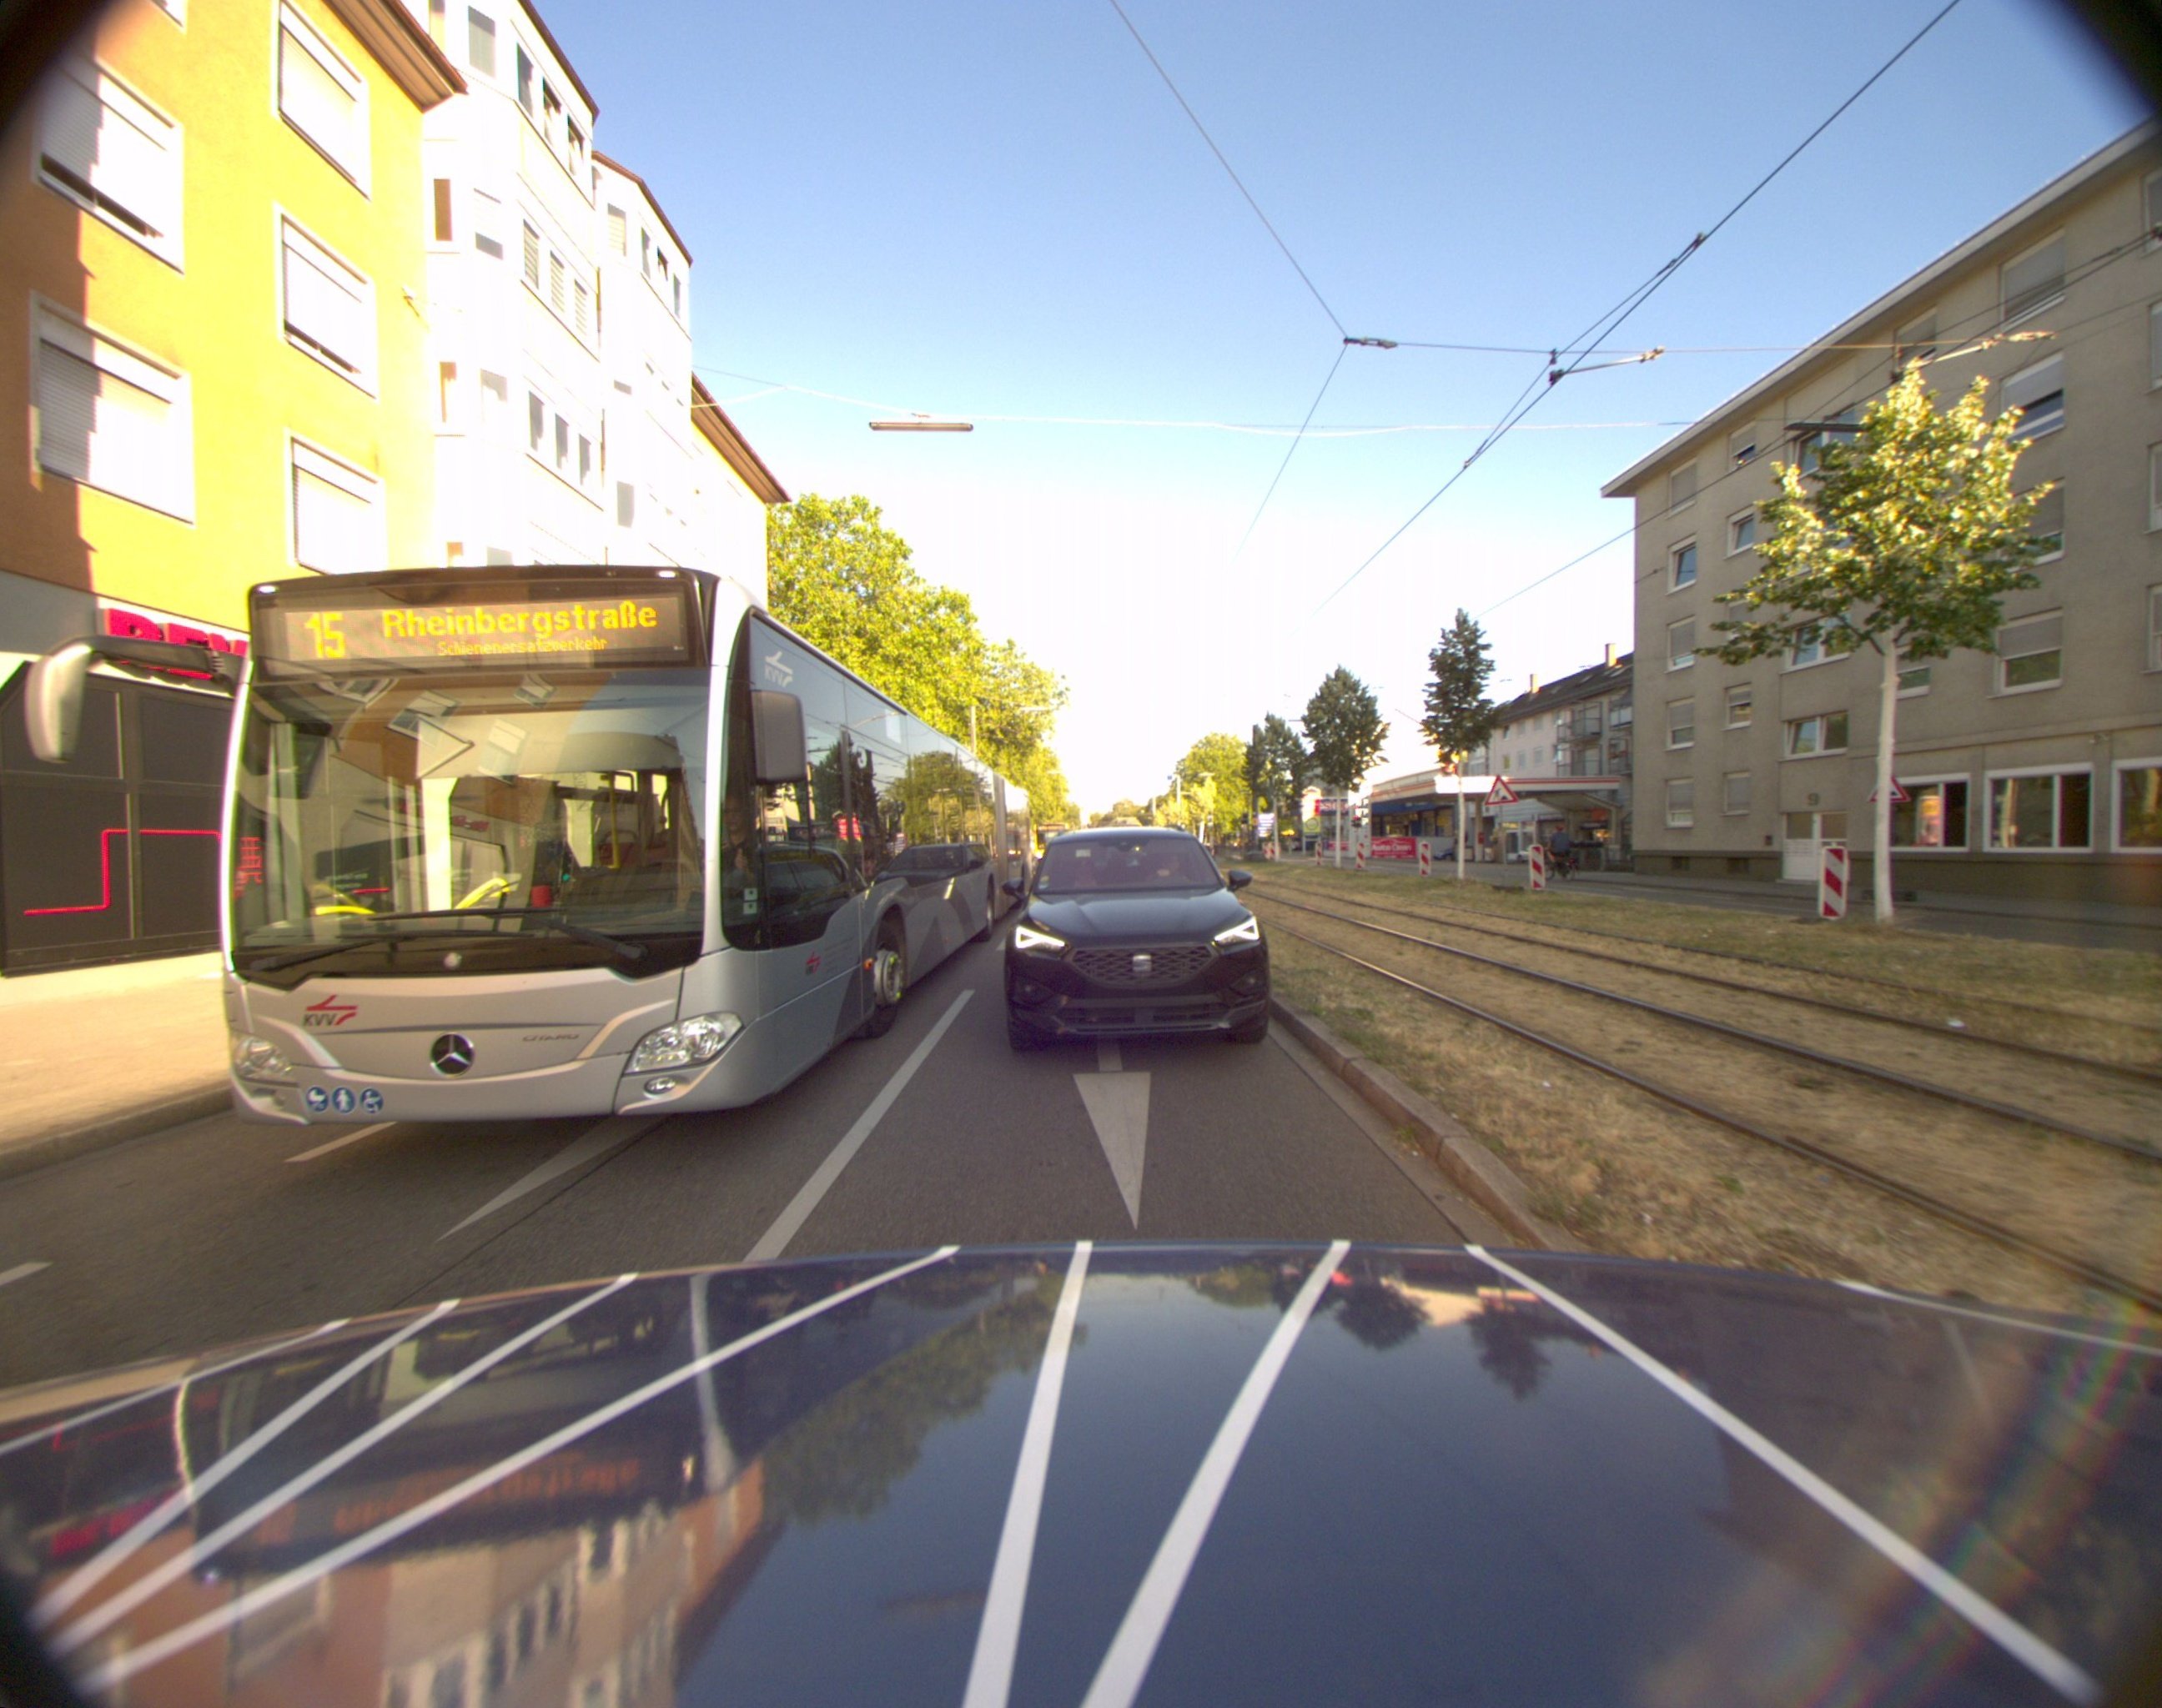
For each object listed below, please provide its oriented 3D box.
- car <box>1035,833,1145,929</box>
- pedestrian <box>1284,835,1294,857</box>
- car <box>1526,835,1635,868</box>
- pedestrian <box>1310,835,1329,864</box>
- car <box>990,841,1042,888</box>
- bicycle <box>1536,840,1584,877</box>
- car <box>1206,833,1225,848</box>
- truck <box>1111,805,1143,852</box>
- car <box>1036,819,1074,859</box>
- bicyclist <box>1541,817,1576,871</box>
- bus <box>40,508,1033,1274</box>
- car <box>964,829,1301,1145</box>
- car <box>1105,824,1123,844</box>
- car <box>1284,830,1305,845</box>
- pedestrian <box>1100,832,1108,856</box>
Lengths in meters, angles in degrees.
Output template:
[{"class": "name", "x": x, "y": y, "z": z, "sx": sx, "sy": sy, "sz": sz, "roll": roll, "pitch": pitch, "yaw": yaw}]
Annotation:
[{"class": "car", "x": 0.180, "y": 0.448, "z": 15.857, "sx": 1.998, "sy": 1.740, "sz": 3.999, "roll": 0, "pitch": 1, "yaw": 0}, {"class": "pedestrian", "x": 19.885, "y": -0.782, "z": 72.704, "sx": 0.632, "sy": 2.002, "sz": 0.583, "roll": -5, "pitch": 2, "yaw": 1}, {"class": "car", "x": 22.656, "y": -0.117, "z": 34.591, "sx": 3.728, "sy": 1.460, "sz": 1.908, "roll": 0, "pitch": 0, "yaw": -1}, {"class": "pedestrian", "x": 10.837, "y": -0.202, "z": 34.542, "sx": 0.664, "sy": 1.263, "sz": 0.581, "roll": -2, "pitch": 1, "yaw": 1}, {"class": "car", "x": -2.479, "y": 0.355, "z": 29.850, "sx": 1.750, "sy": 1.598, "sz": 3.822, "roll": -2, "pitch": 2, "yaw": -1}, {"class": "bicycle", "x": 16.909, "y": 0.139, "z": 26.886, "sx": 0.456, "sy": 1.250, "sz": 1.870, "roll": -1, "pitch": 1, "yaw": -2}, {"class": "car", "x": 16.972, "y": -1.720, "z": 96.148, "sx": 1.998, "sy": 1.725, "sz": 4.394, "roll": -2, "pitch": 2, "yaw": 6}, {"class": "truck", "x": 4.032, "y": -2.259, "z": 67.753, "sx": 2.306, "sy": 3.799, "sz": 7.721, "roll": -2, "pitch": 2, "yaw": 1}, {"class": "car", "x": -1.954, "y": -1.169, "z": 59.018, "sx": 2.681, "sy": 2.875, "sz": 5.450, "roll": -2, "pitch": 2, "yaw": 0}, {"class": "bicyclist", "x": 16.900, "y": -0.357, "z": 26.899, "sx": 0.653, "sy": 1.872, "sz": 0.808, "roll": 0, "pitch": 2, "yaw": -2}, {"class": "bus", "x": -2.797, "y": -0.034, "z": 12.030, "sx": 2.773, "sy": 3.132, "sz": 17.736, "roll": -1, "pitch": 1, "yaw": 0}, {"class": "car", "x": 0.299, "y": 0.680, "z": 6.078, "sx": 1.774, "sy": 1.668, "sz": 3.999, "roll": -1, "pitch": 1, "yaw": 0}, {"class": "car", "x": 3.538, "y": -2.137, "z": 81.840, "sx": 1.767, "sy": 2.002, "sz": 3.790, "roll": -2, "pitch": 2, "yaw": 0}, {"class": "car", "x": 24.765, "y": -1.937, "z": 88.229, "sx": 1.781, "sy": 1.547, "sz": 4.001, "roll": -2, "pitch": 2, "yaw": 9}, {"class": "pedestrian", "x": 1.967, "y": -0.840, "z": 64.831, "sx": 0.625, "sy": 2.002, "sz": 0.695, "roll": -2, "pitch": 2, "yaw": 0}]
